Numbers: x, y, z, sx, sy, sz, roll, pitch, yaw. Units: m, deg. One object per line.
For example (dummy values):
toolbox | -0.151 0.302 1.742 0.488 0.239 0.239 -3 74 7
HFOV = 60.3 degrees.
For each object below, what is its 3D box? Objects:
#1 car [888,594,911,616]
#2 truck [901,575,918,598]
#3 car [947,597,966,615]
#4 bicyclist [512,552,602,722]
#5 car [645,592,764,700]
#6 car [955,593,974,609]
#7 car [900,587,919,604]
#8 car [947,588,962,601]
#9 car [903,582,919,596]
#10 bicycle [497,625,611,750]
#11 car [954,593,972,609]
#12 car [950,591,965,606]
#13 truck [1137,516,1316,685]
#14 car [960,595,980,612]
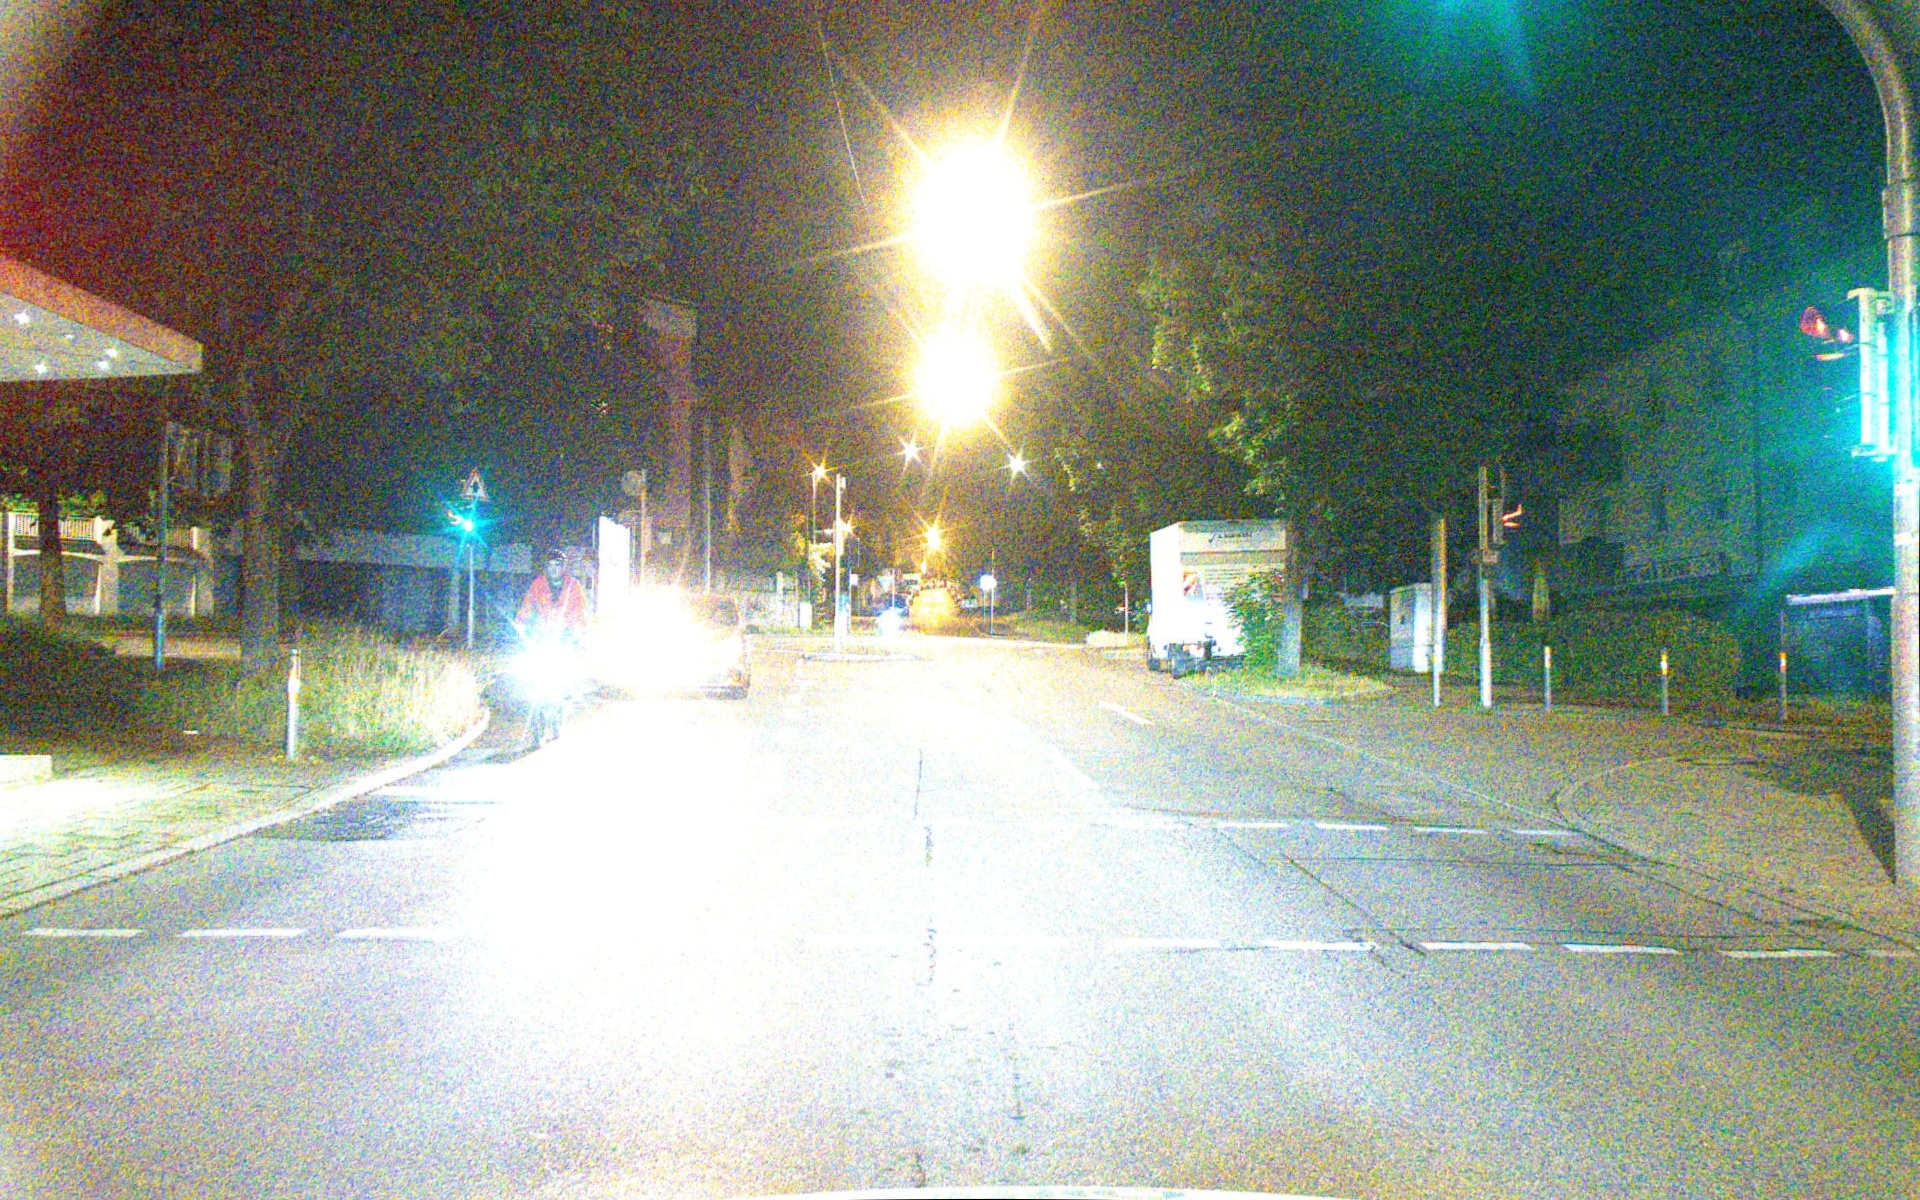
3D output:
car | -4.897 0.371 134.359 1.778 1.713 3.999 1 0 -1
truck | -6.433 -1.702 209.501 2.044 2.897 5.828 1 0 -2
car | -0.296 0.498 137.639 1.561 1.502 3.653 1 0 -1
bicyclist | -4.071 0.370 16.750 0.676 1.666 0.896 1 -1 -1
car | -3.850 0.650 25.303 1.550 1.528 3.392 1 0 -5
car | 0.416 0.068 153.092 1.601 1.477 3.484 1 0 -1
car | -4.877 -0.433 160.493 1.779 1.517 3.998 1 0 -2
car | -0.652 -0.627 191.475 1.601 1.477 3.484 1 0 -1
car | -5.531 -1.201 186.877 1.779 1.517 3.998 1 0 -2
bicycle | -4.082 0.846 16.767 0.682 1.169 1.950 1 0 -1
car | 0.261 0.104 159.274 1.601 1.477 3.484 1 0 -1
car | -0.263 -0.168 178.508 1.601 1.477 3.484 1 0 -1
truck | 5.420 0.007 34.686 2.693 3.165 6.257 1 0 0
car | 0.878 0.295 143.362 1.601 1.477 3.484 1 0 -1
